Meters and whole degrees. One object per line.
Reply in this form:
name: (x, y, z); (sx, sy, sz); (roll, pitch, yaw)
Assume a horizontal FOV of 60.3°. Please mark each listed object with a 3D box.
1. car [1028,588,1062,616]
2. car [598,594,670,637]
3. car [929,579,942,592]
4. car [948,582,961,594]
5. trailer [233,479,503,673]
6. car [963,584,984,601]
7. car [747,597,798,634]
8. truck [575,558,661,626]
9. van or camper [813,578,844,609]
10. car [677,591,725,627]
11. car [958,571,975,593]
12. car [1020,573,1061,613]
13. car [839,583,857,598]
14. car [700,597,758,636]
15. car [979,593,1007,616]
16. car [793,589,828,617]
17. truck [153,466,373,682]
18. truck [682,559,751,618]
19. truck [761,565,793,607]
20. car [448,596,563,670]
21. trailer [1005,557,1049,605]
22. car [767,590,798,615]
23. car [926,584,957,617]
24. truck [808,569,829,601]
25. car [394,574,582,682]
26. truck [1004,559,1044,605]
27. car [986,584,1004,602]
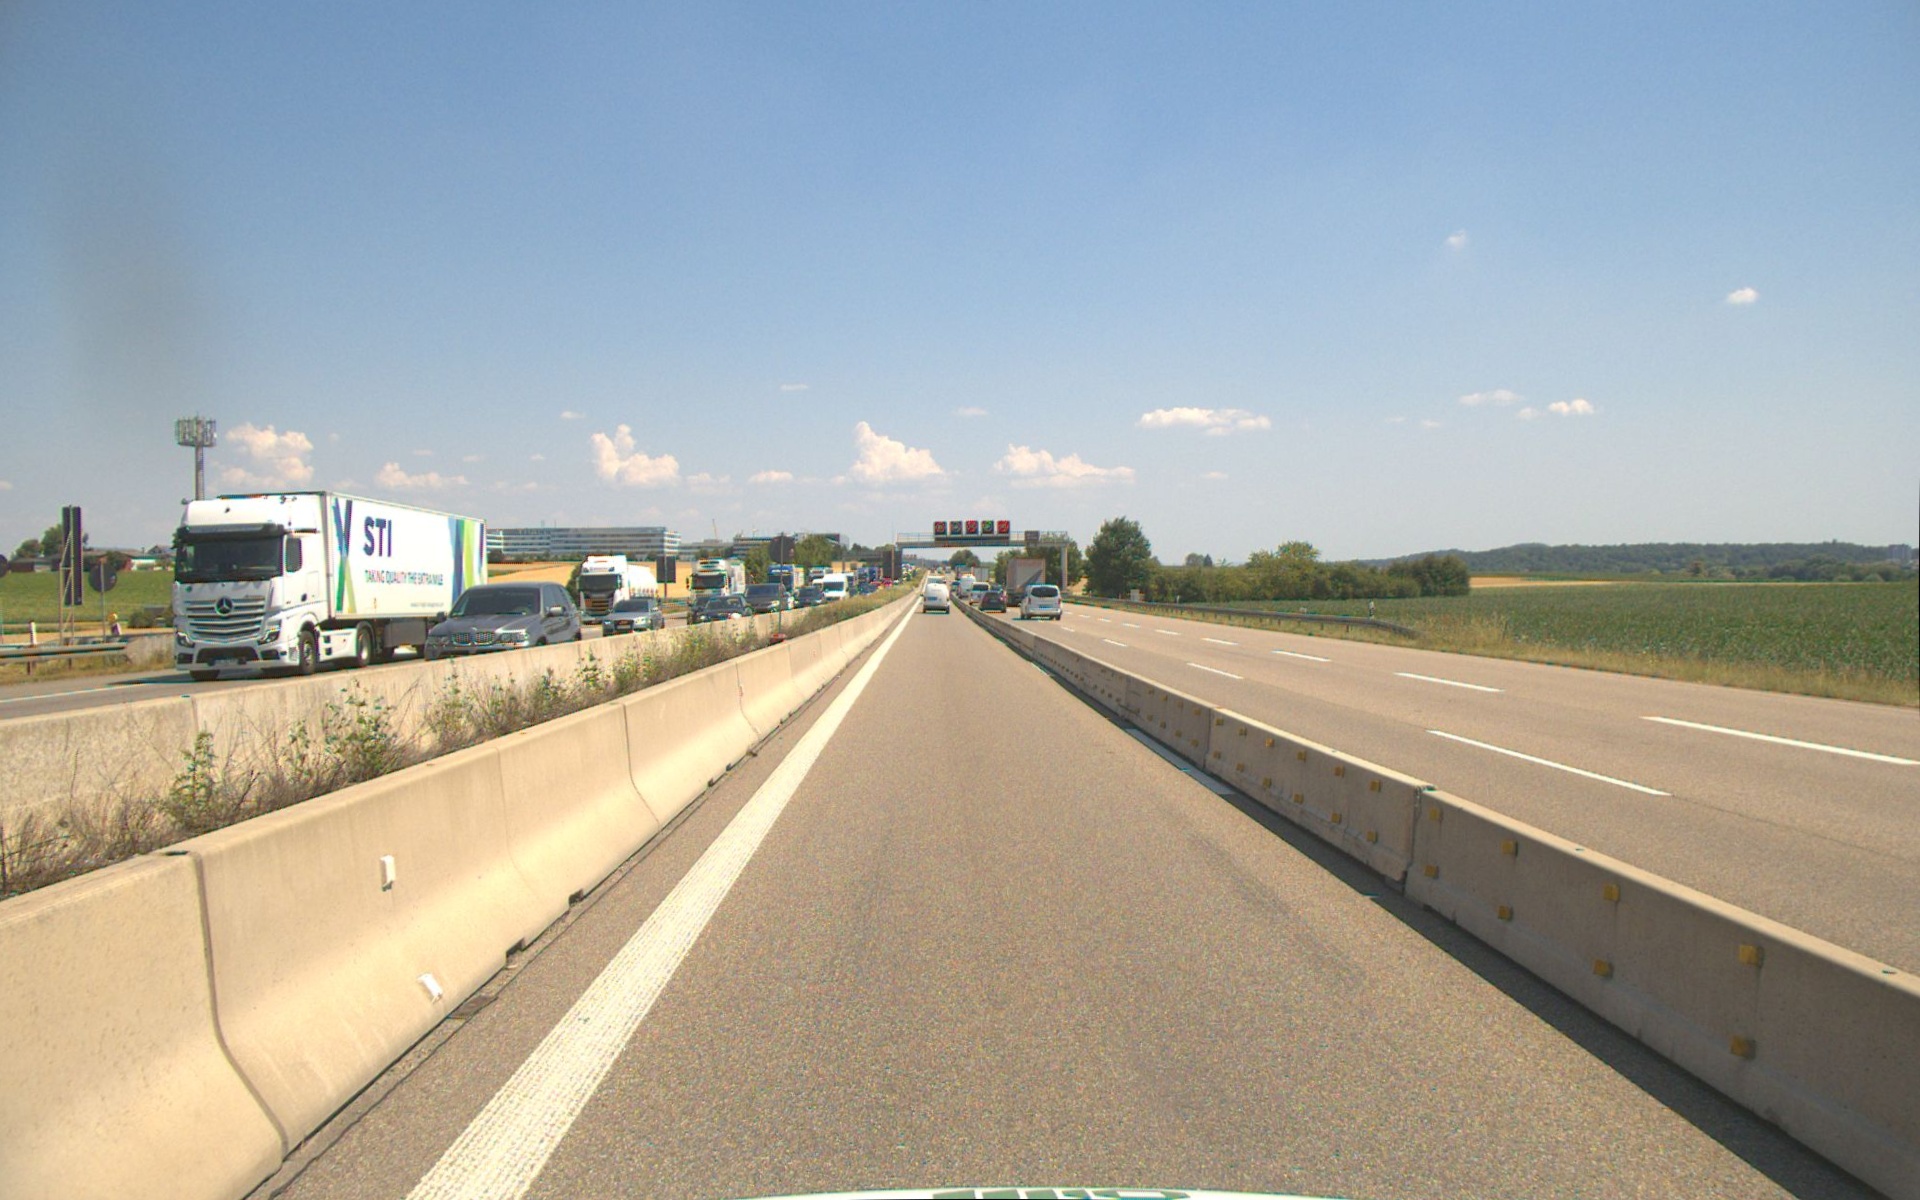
car: (5.532, 0.143, 108.594); (1.953, 1.825, 3.999); (0, 0, -1)
car: (-12.248, 0.550, 62.419); (1.809, 1.508, 4.921); (0, 0, -1)
car: (-3.624, -2.208, 247.706); (1.953, 1.867, 3.999); (0, 0, -1)
car: (-0.917, -1.851, 262.127); (1.953, 1.867, 3.999); (0, 0, -1)
trailer: (-15.715, -0.597, 45.403); (2.834, 4.451, 12.990); (-2, 0, -1)
car: (1.174, -0.692, 146.335); (1.737, 1.472, 3.999); (0, 0, -1)
car: (-8.484, 0.674, 75.123); (1.806, 1.597, 5.343); (0, 0, -1)
truck: (-21.206, -0.525, 103.304); (2.841, 3.842, 13.284); (-3, 0, -2)
van or camper: (-10.105, -0.505, 127.675); (1.994, 2.260, 7.206); (1, 0, -1)
car: (-12.397, 0.405, 79.480); (1.622, 1.680, 4.664); (0, 0, -1)
car: (0.721, -2.017, 187.720); (1.737, 2.434, 3.999); (0, 0, -1)
car: (4.366, -0.357, 90.394); (1.953, 2.157, 3.999); (0, 0, -1)
car: (-11.071, -0.945, 164.153); (1.565, 1.494, 4.532); (-1, 1, -2)
car: (-8.477, 0.590, 60.998); (1.622, 1.375, 4.266); (0, 0, -1)
car: (2.188, 0.309, 111.688); (1.737, 1.472, 3.999); (0, 0, -1)
car: (-9.083, 0.167, 100.616); (1.746, 1.617, 4.540); (0, 0, -1)
truck: (-15.566, -0.554, 37.345); (2.812, 4.451, 4.902); (-2, 0, -1)
truck: (-16.559, -0.769, 113.552); (2.738, 3.672, 13.287); (-3, 0, -1)
truck: (-18.475, -1.430, 167.084); (2.753, 4.200, 4.840); (-1, 1, -2)
car: (-11.735, 0.820, 42.980); (1.953, 1.847, 3.999); (0, 0, -1)
trailer: (5.690, -1.570, 141.694); (3.211, 4.036, 9.110); (0, 0, -1)
car: (-13.201, 0.135, 123.325); (1.848, 1.739, 5.519); (-2, 1, -3)
car: (-1.192, 0.042, 105.900); (1.953, 2.049, 3.999); (0, 0, -1)
truck: (-18.946, -1.992, 221.409); (2.362, 4.158, 4.659); (-1, 0, -1)
car: (-7.744, 0.434, 27.617); (1.852, 1.645, 4.819); (0, 0, -1)
truck: (5.617, -1.549, 145.681); (3.204, 4.036, 4.911); (0, 0, -1)
car: (4.132, -0.812, 195.749); (1.953, 2.049, 3.999); (0, 0, -1)
